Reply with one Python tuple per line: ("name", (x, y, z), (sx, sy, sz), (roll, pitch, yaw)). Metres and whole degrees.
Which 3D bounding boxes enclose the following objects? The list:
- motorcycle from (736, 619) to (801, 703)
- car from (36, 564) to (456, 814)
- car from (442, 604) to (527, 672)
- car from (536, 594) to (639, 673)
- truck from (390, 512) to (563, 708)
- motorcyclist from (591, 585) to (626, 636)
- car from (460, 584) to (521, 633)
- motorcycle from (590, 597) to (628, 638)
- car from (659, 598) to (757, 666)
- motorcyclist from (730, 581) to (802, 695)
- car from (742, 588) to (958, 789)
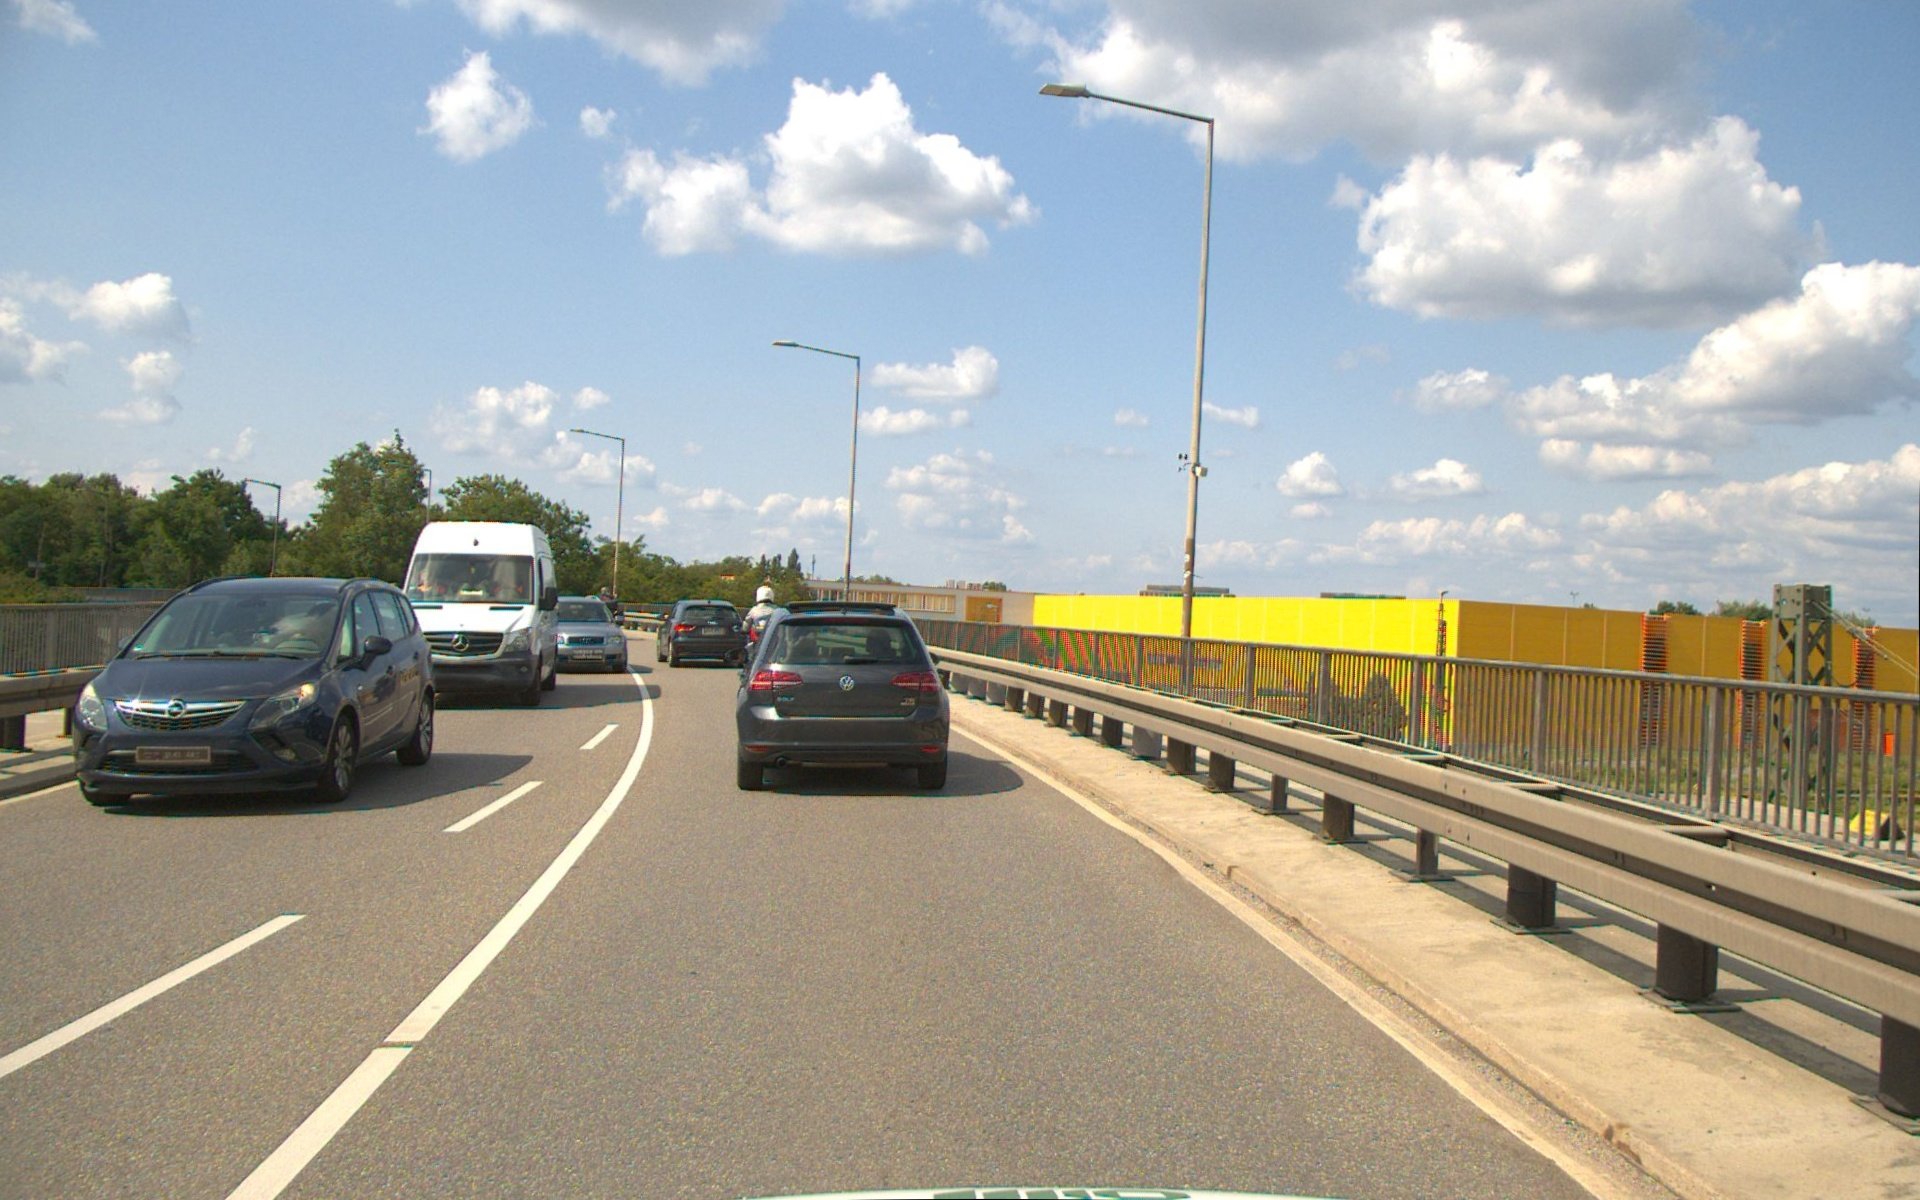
("motorcycle", (-2.898, 0.888, 24.845), (0.775, 1.152, 2.393), (1, 0, -11))
("car", (-5.442, 0.602, 13.286), (1.683, 1.660, 4.424), (0, 0, -4))
("car", (-10.451, 0.779, 36.182), (1.607, 1.368, 4.230), (-1, 0, -19))
("car", (-7.614, 0.639, 33.550), (1.738, 1.485, 4.277), (0, 0, -17))
("truck", (-7.031, 0.121, 24.599), (1.958, 2.551, 5.931), (0, 0, -11))
("motorcyclist", (-11.504, 0.351, 54.111), (0.951, 1.624, 1.119), (2, 0, -19))
("car", (-16.186, 0.265, 56.920), (1.660, 1.624, 4.256), (0, 1, -21))
("motorcycle", (-11.481, 0.548, 54.045), (0.874, 1.269, 2.386), (1, 0, -19))
("car", (-5.579, 0.701, 36.385), (1.655, 1.412, 3.722), (1, -1, -16))
("motorcyclist", (-2.929, 0.563, 24.930), (0.949, 1.648, 1.121), (2, 0, -12))
("car", (-1.053, 0.688, 14.504), (1.611, 1.505, 3.866), (1, 0, -7))
